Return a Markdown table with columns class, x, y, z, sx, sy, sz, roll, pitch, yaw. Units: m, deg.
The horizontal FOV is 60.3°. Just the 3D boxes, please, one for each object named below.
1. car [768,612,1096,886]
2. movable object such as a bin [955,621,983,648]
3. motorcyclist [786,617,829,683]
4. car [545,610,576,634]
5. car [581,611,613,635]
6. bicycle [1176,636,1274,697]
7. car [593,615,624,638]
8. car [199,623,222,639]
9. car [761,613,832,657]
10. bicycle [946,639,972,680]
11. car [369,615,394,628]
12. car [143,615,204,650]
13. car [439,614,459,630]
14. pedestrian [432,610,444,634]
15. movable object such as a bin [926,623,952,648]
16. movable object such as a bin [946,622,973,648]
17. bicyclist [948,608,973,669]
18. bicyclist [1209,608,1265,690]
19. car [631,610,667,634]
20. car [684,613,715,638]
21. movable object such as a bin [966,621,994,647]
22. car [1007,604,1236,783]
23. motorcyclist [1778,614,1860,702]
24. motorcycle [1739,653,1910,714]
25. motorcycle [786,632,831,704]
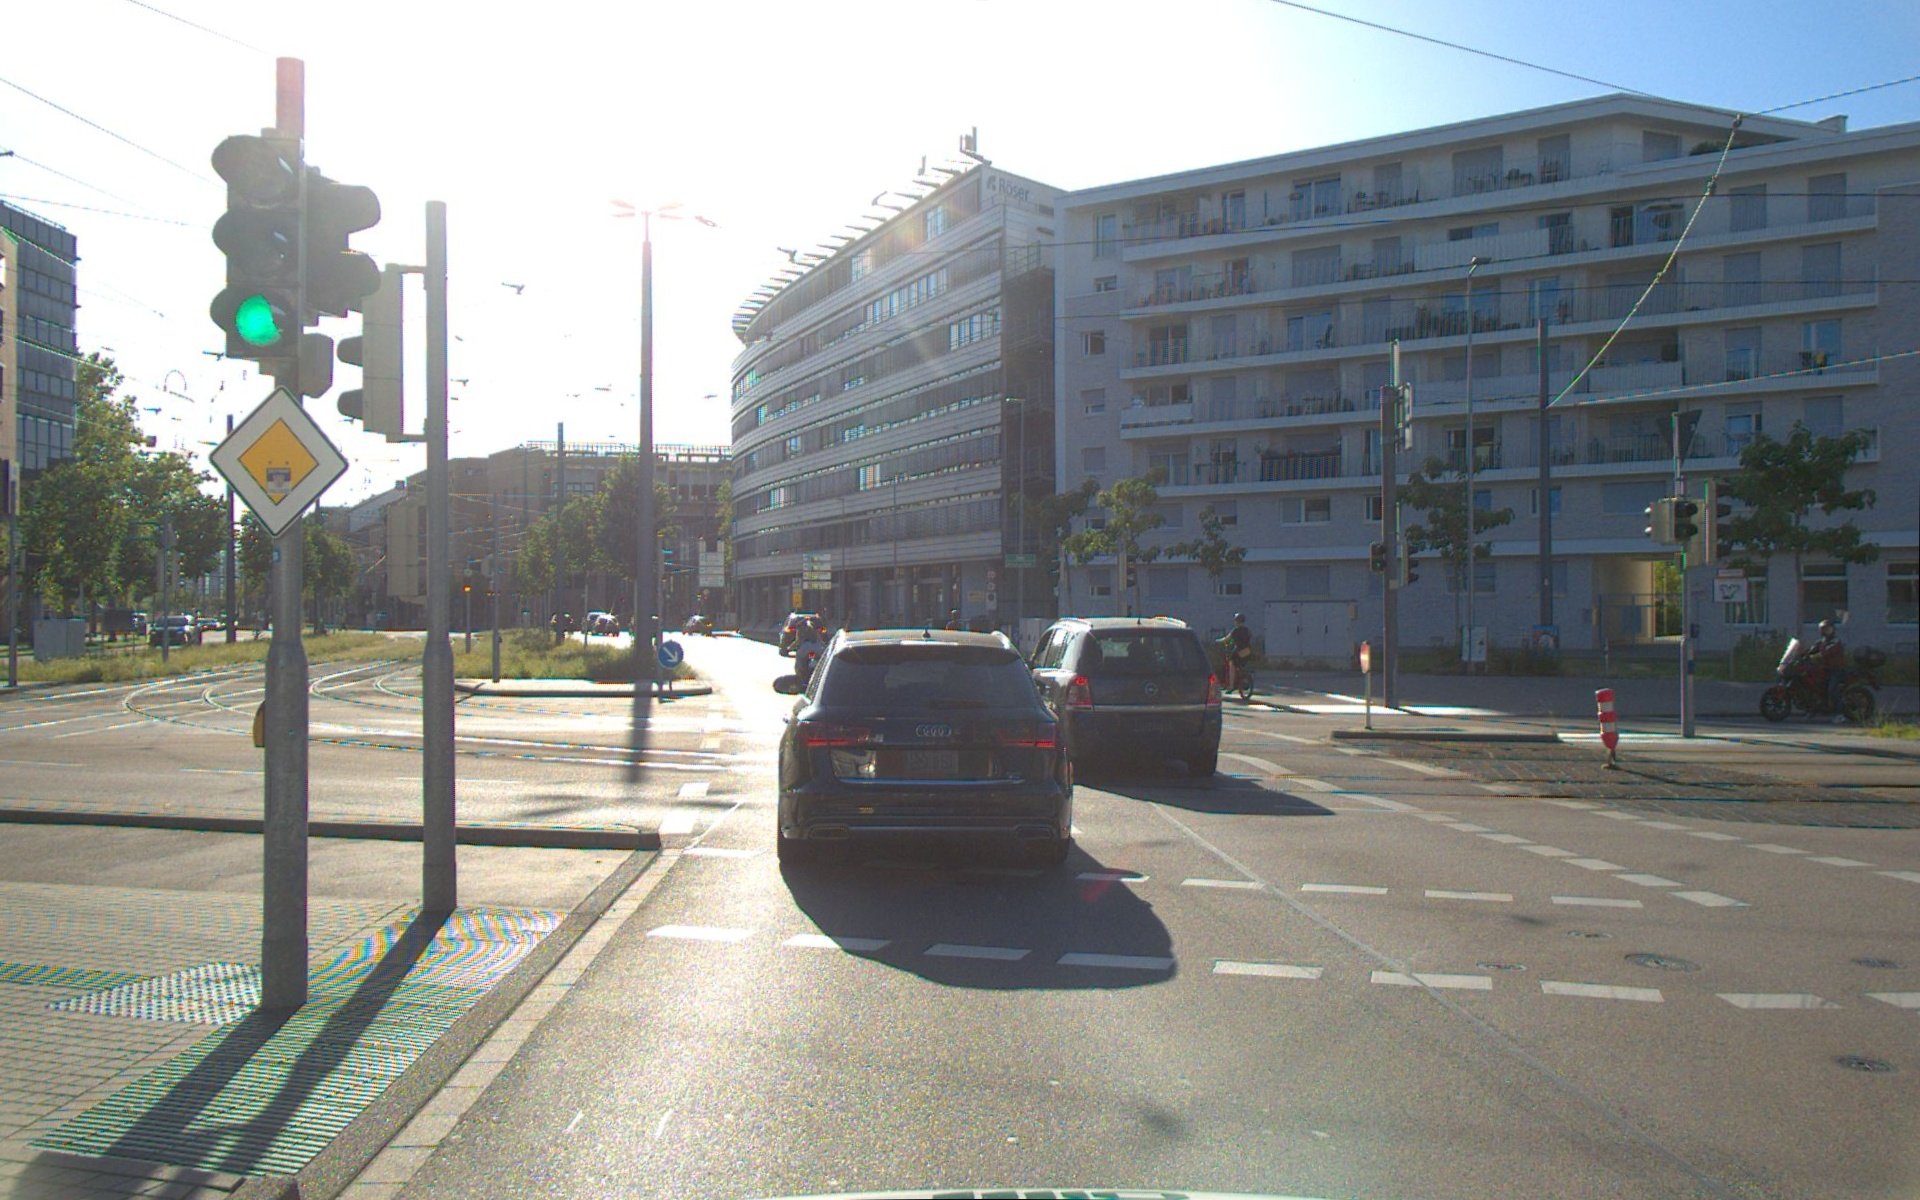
| class | x | y | z | sx | sy | sz | roll | pitch | yaw |
| --- | --- | --- | --- | --- | --- | --- | --- | --- | --- |
| car | -0.186 | 0.851 | 11.252 | 1.805 | 1.479 | 3.999 | 1 | 0 | -1 |
| movable object such as a bin | 0.475 | 1.830 | 87.770 | 1.048 | 1.355 | 1.114 | 0 | -2 | -28 |
| motorcyclist | -3.147 | 1.021 | 34.117 | 0.845 | 1.349 | 0.681 | 0 | -1 | -4 |
| car | -30.479 | 1.676 | 125.988 | 1.963 | 1.736 | 3.978 | -1 | -1 | -19 |
| car | -27.810 | 1.744 | 126.579 | 1.963 | 1.736 | 3.978 | -1 | -1 | -19 |
| bicycle | 5.733 | 1.424 | 35.889 | 2.046 | 1.284 | 0.763 | -1 | -1 | 44 |
| car | -25.733 | 1.946 | 120.887 | 1.961 | 1.624 | 3.983 | -1 | -1 | -16 |
| car | -83.562 | 3.439 | 184.357 | 1.972 | 1.713 | 3.961 | -1 | -1 | -29 |
| car | -7.067 | 1.489 | 71.111 | 1.973 | 1.745 | 4.346 | 1 | 0 | -20 |
| bicycle | -0.024 | 1.650 | 46.012 | 0.640 | 1.061 | 1.930 | 0 | 0 | 3 |
| car | -71.756 | 2.664 | 205.044 | 1.975 | 1.669 | 4.361 | 0 | -1 | -33 |
| car | -38.996 | 1.592 | 82.109 | 1.961 | 1.669 | 4.393 | 0 | -1 | -15 |
| car | -56.033 | 2.424 | 181.331 | 1.961 | 1.736 | 3.983 | -1 | -1 | -15 |
| pedestrian | -41.769 | 1.743 | 132.321 | 0.888 | 1.856 | 0.825 | -1 | -2 | -18 |
| movable object such as a bin | -1.168 | 1.942 | 90.805 | 1.048 | 1.355 | 1.114 | 0 | -2 | -28 |
| movable object such as a bin | -0.034 | 1.867 | 88.740 | 1.048 | 1.355 | 1.114 | 0 | -2 | -28 |
| bicyclist | 0.012 | 1.065 | 46.016 | 0.640 | 1.671 | 0.972 | 0 | 0 | 2 |
| bicyclist | 5.969 | 1.054 | 35.679 | 0.914 | 1.736 | 0.763 | -1 | -1 | 44 |
| car | -22.312 | 1.560 | 118.590 | 1.964 | 1.624 | 3.977 | -1 | -1 | -19 |
| car | -20.677 | 2.050 | 131.043 | 1.961 | 1.870 | 3.982 | -1 | -1 | -16 |
| movable object such as a bin | 1.034 | 1.784 | 86.702 | 1.048 | 1.355 | 1.114 | 0 | -2 | -28 |
| car | 1.659 | 0.948 | 18.447 | 1.712 | 1.726 | 4.255 | 2 | -1 | -6 |
| motorcyclist | 15.161 | 1.009 | 29.228 | 0.905 | 1.507 | 1.172 | 0 | -1 | 5 |
| motorcycle | 15.232 | 1.462 | 29.223 | 2.401 | 1.018 | 1.172 | 0 | -1 | 5 |
| motorcycle | -3.095 | 1.385 | 33.977 | 0.845 | 1.417 | 1.892 | 0 | -1 | -3 |
